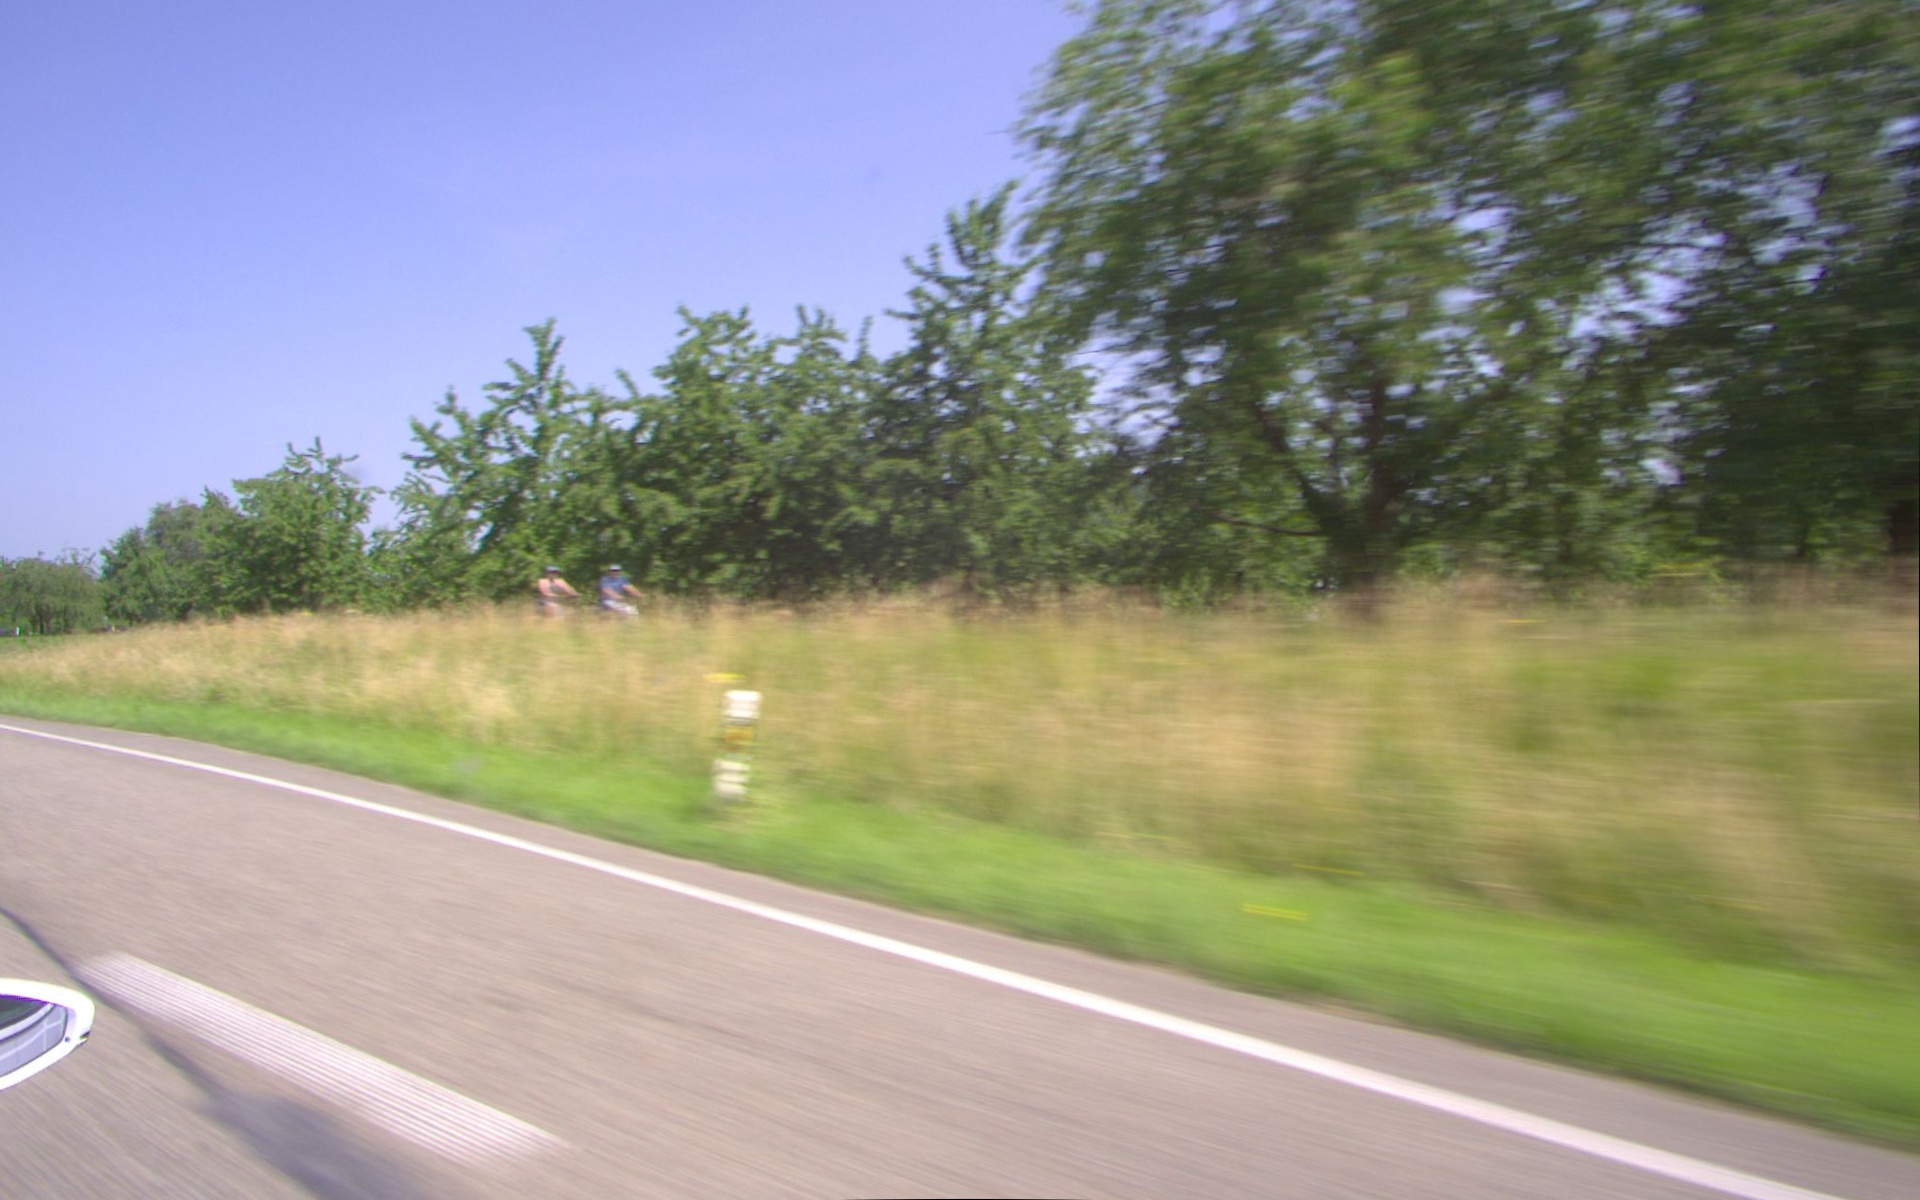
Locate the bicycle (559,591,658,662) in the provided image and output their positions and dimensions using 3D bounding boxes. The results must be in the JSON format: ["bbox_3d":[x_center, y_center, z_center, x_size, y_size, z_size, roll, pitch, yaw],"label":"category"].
[{"bbox_3d":[-7.445,0.542,21.168,2.189,1.437,0.748,-1,1,32],"label":"bicycle"}]

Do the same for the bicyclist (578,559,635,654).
[{"bbox_3d":[-7.460,0.132,21.167,0.816,1.956,0.748,0,2,32],"label":"bicyclist"}]

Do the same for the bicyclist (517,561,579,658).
[{"bbox_3d":[-8.294,0.187,20.185,0.856,1.892,0.748,0,2,32],"label":"bicyclist"}]

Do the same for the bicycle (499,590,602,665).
[{"bbox_3d":[-8.268,0.547,20.189,2.189,1.437,0.748,-1,1,32],"label":"bicycle"}]
